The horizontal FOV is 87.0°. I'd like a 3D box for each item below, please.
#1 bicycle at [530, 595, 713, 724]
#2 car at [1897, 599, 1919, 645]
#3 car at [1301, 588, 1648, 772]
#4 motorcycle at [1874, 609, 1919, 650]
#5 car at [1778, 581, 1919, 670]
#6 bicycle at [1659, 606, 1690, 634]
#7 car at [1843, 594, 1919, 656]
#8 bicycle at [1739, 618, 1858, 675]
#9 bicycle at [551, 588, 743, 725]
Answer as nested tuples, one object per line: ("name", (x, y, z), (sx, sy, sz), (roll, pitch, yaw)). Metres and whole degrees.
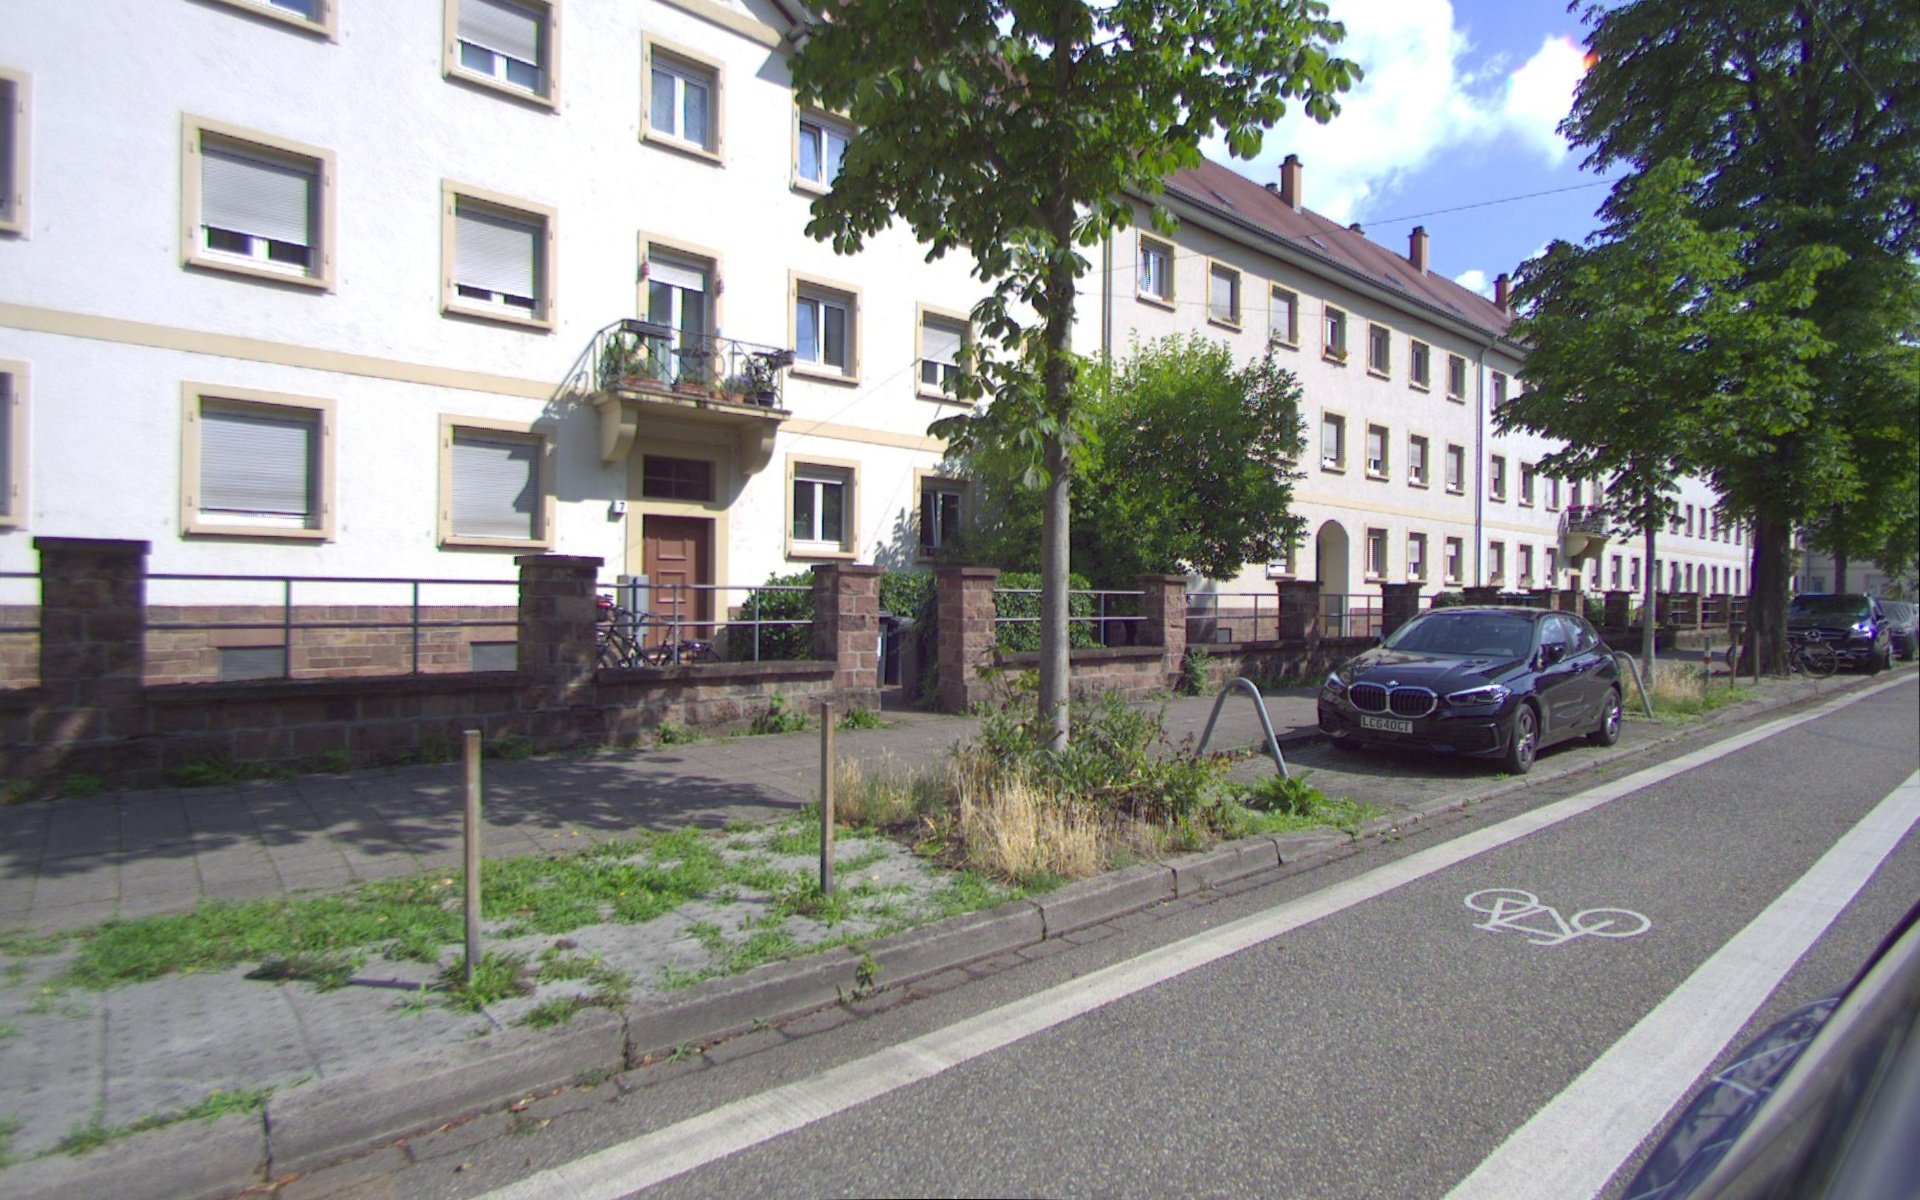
("bicycle", (-3.441, 0.562, 10.367), (1.674, 1.227, 0.600), (0, 0, -41))
("car", (35.359, 0.781, 36.643), (4.175, 1.601, 1.744), (0, 0, -42))
("car", (5.347, 0.672, 10.284), (4.124, 1.498, 1.708), (0, -2, -41))
("motorcycle", (32.144, 0.985, 34.046), (0.735, 1.354, 2.008), (0, 0, -44))
("car", (20.079, 0.529, 22.783), (4.650, 1.805, 1.830), (1, 0, -41))
("bicycle", (25.797, 0.711, 36.552), (1.649, 0.976, 0.538), (0, 0, -41))
("car", (27.210, 0.682, 29.352), (4.557, 1.674, 1.865), (0, 0, -42))
("bicycle", (16.442, 0.888, 19.881), (0.626, 1.020, 1.711), (0, 0, -40))
("bicycle", (-3.002, 0.504, 9.809), (1.674, 1.227, 0.600), (0, 0, -41))
